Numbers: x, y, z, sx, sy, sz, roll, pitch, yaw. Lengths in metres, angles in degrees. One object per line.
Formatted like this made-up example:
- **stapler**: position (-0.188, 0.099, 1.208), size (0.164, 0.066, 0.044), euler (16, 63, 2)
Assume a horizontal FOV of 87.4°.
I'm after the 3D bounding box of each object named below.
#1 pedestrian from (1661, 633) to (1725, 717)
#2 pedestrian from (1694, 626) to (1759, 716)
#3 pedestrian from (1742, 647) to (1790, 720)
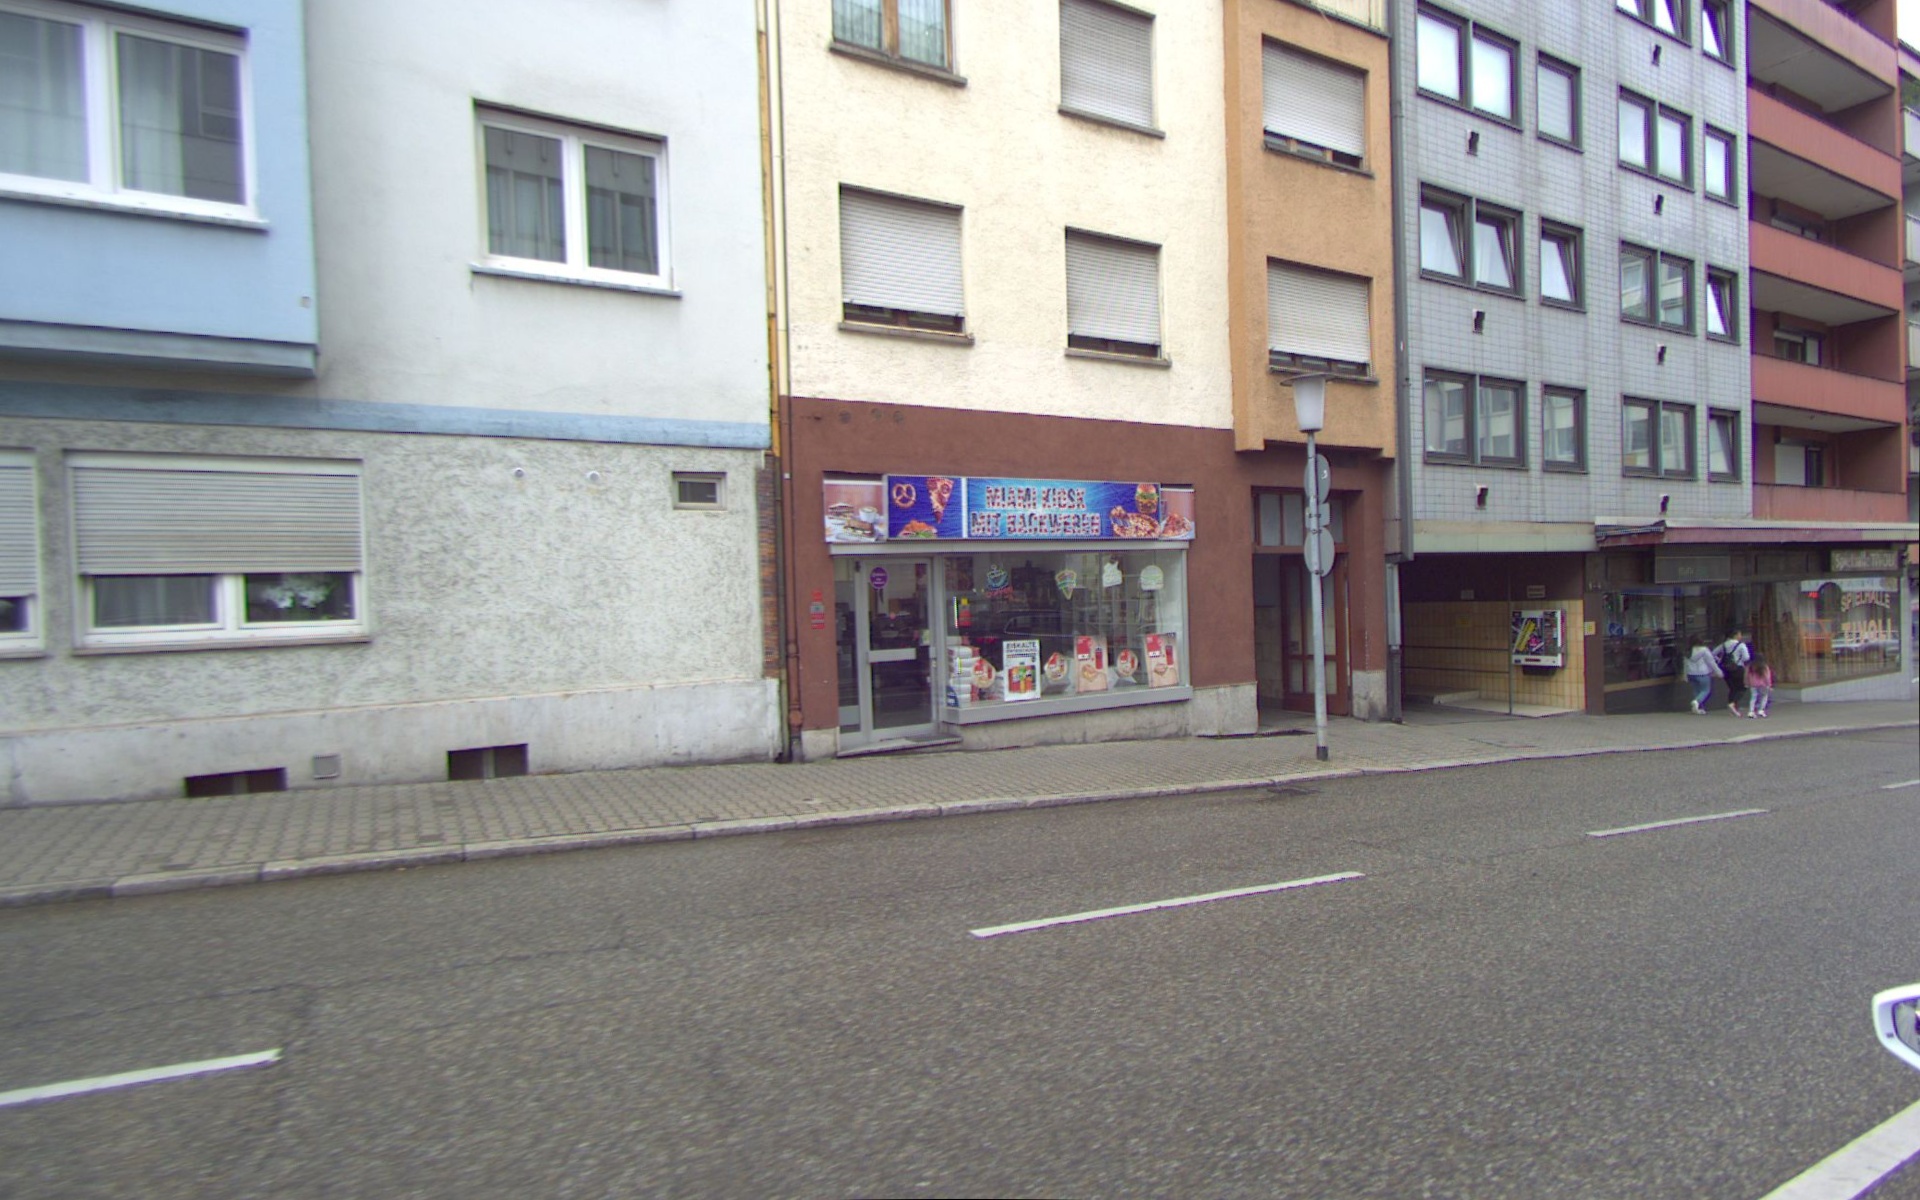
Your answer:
- **pedestrian**: position (14.574, 1.461, 19.977), size (0.717, 1.581, 0.821), euler (1, 1, -38)
- **pedestrian**: position (15.363, 1.402, 20.134), size (0.717, 1.712, 0.821), euler (1, 1, -38)
- **pedestrian**: position (15.700, 1.613, 19.563), size (0.717, 1.341, 0.529), euler (1, 1, -38)
